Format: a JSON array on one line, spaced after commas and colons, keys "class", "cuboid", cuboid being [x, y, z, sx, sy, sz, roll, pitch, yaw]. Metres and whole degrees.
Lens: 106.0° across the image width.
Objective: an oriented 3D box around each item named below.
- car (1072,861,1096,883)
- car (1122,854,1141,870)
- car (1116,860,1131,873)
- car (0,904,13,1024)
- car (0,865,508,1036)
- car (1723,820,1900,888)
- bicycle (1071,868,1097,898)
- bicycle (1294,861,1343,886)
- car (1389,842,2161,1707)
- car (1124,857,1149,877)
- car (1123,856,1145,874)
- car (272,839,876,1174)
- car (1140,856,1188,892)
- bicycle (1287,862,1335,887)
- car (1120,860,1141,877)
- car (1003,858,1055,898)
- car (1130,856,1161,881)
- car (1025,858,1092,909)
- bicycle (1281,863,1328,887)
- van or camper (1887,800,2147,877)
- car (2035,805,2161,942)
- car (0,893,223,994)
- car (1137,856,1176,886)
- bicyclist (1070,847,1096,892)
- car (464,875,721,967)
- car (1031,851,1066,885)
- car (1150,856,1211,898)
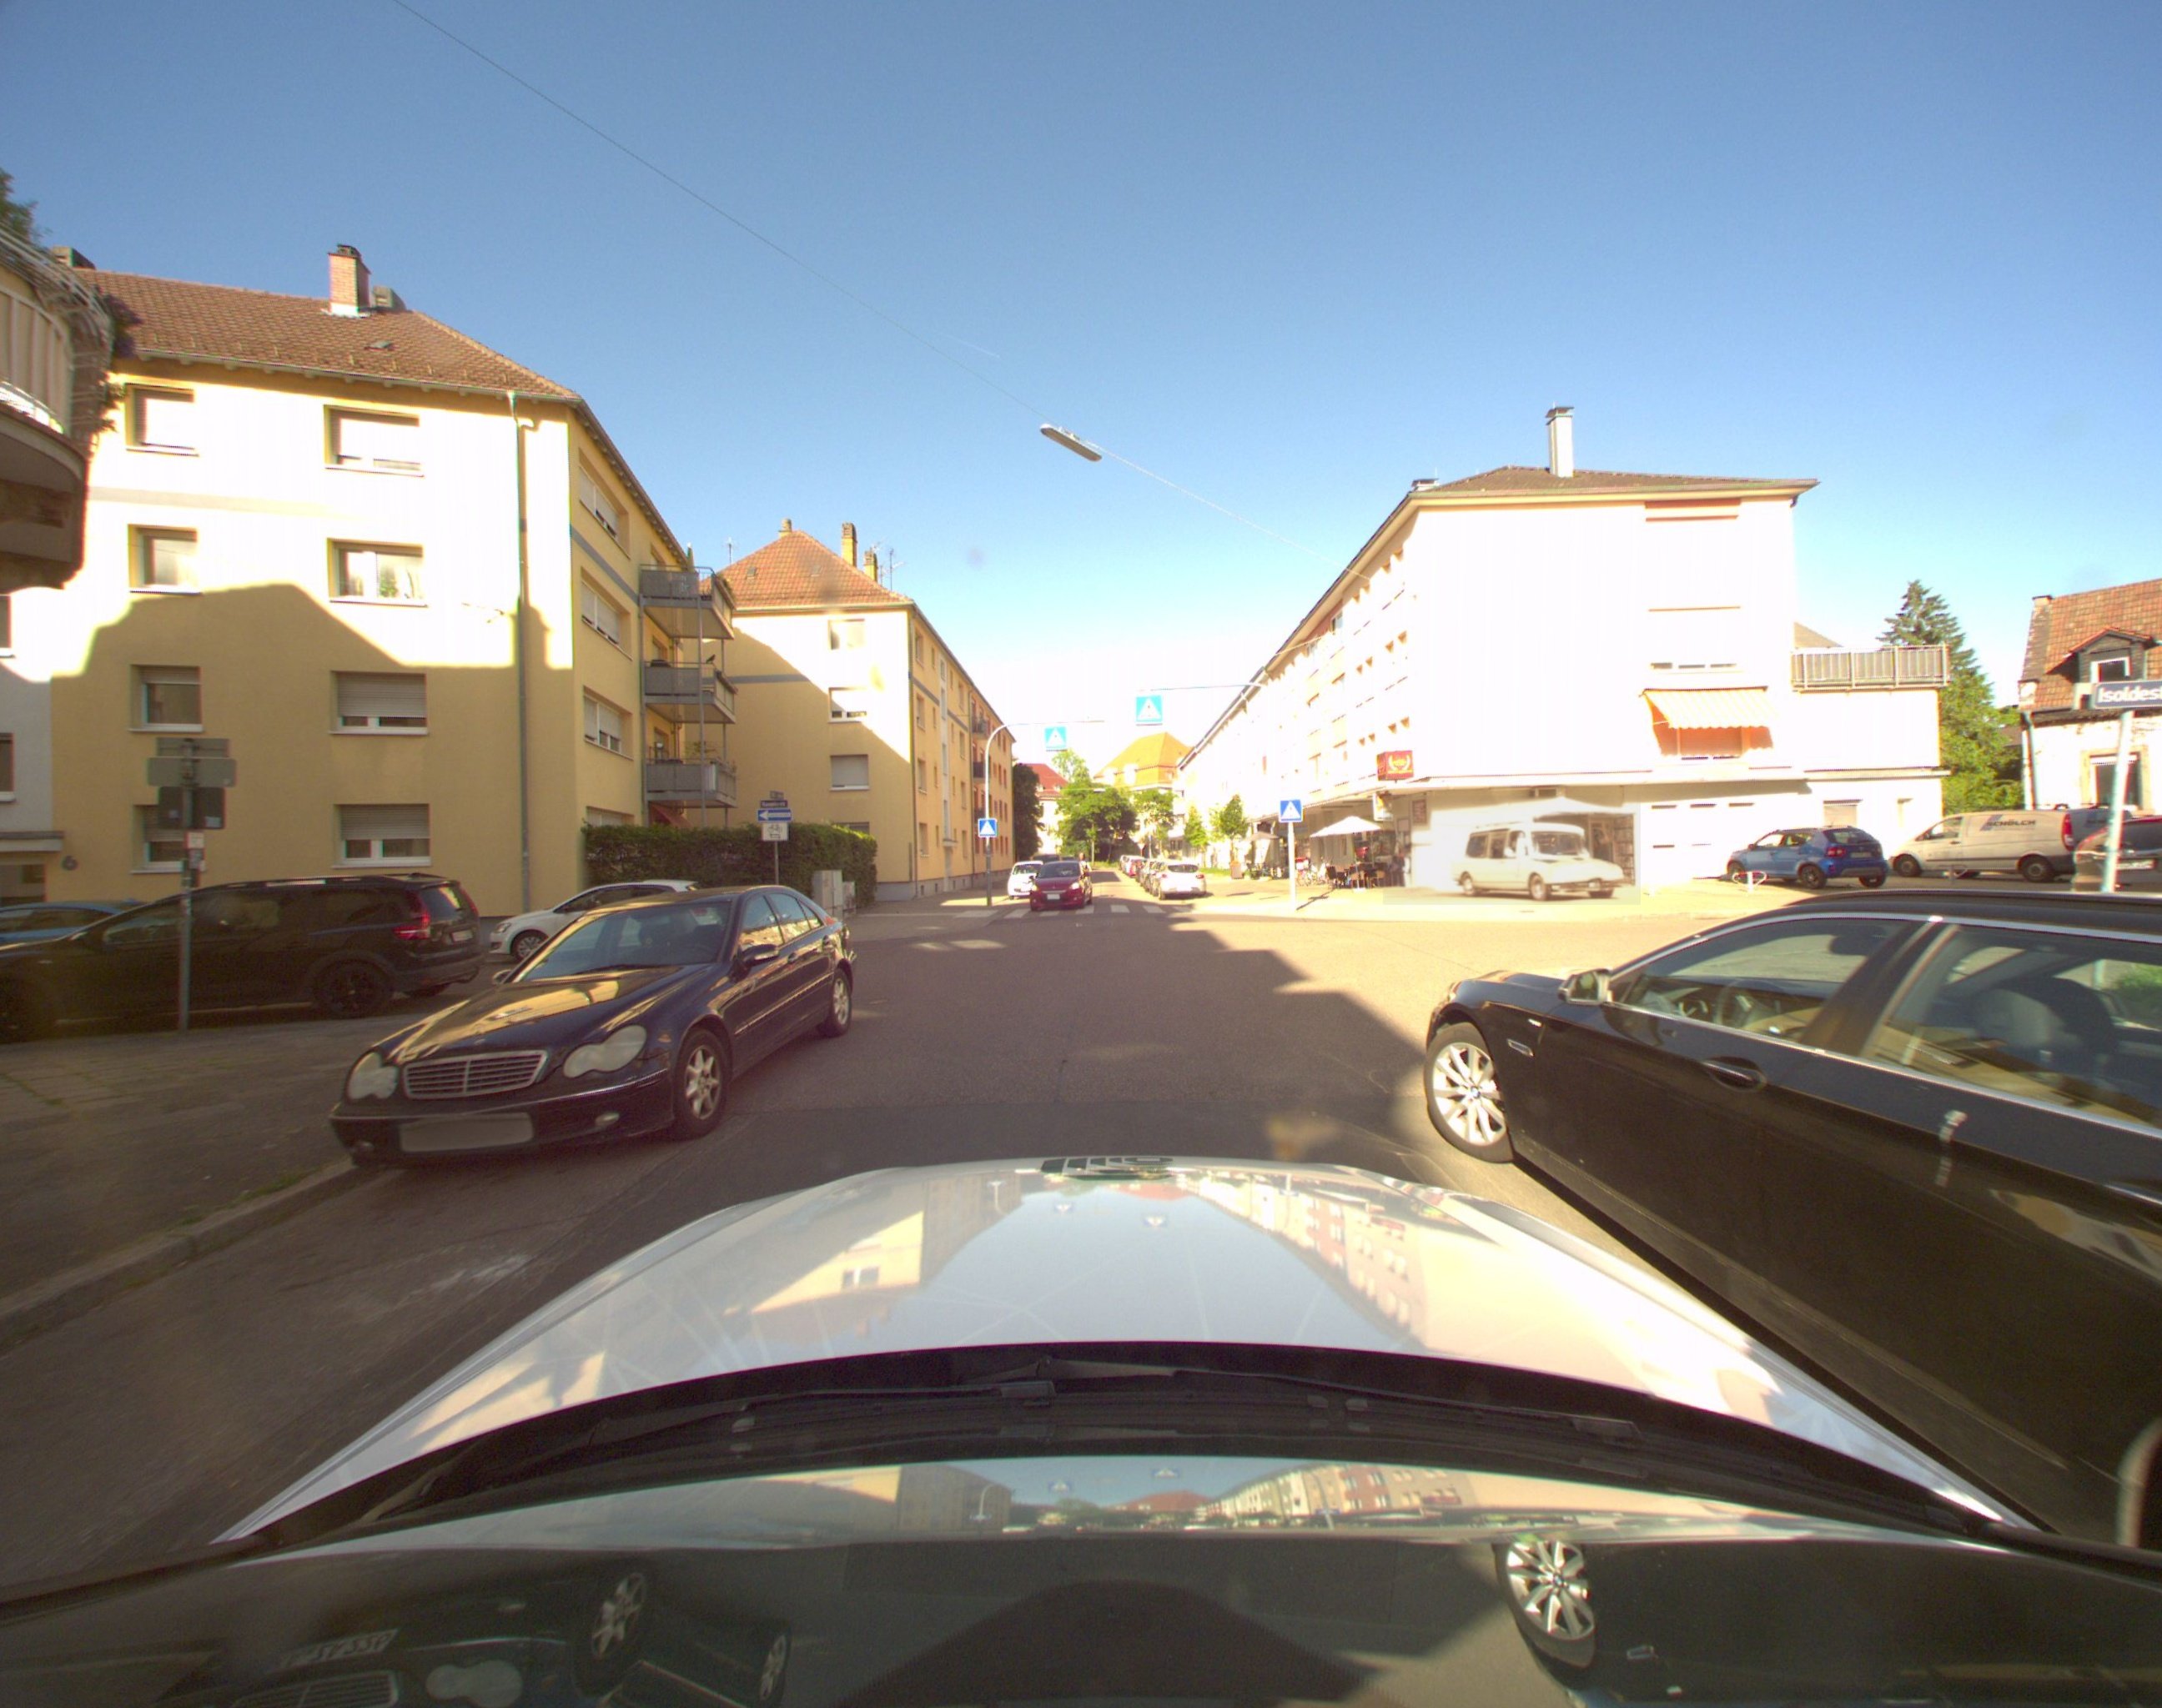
[{"class": "car", "cuboid": [0.220, 1.266, 58.177, 1.632, 1.441, 3.418, -2, -1, 0]}, {"class": "car", "cuboid": [4.776, 0.794, 77.591, 1.632, 1.441, 3.419, -2, -1, 1]}, {"class": "car", "cuboid": [5.050, 1.440, 96.791, 1.632, 1.441, 3.419, -2, -1, 1]}, {"class": "car", "cuboid": [-14.096, 1.328, 8.553, 3.165, 1.400, 1.587, -2, -1, -14]}, {"class": "car", "cuboid": [-9.784, 1.029, 9.674, 4.475, 1.615, 1.768, -2, -1, -17]}, {"class": "car", "cuboid": [19.342, 0.017, 21.769, 1.574, 1.613, 3.475, -2, -1, 0]}, {"class": "bicycle", "cuboid": [0.131, 1.067, 30.741, 0.774, 1.069, 1.792, -2, -1, 6]}, {"class": "bicycle", "cuboid": [9.794, 0.792, 33.651, 1.806, 0.967, 0.671, -2, -1, -9]}, {"class": "car", "cuboid": [2.757, 0.749, 2.484, 1.847, 1.523, 4.777, -1, -1, 1]}, {"class": "car", "cuboid": [4.229, 0.959, 62.211, 1.632, 1.441, 3.419, -2, -1, 1]}, {"class": "car", "cuboid": [4.409, 0.918, 68.535, 1.632, 1.441, 3.419, -2, -1, 1]}, {"class": "car", "cuboid": [-2.987, 0.780, 6.101, 1.699, 1.416, 4.372, -6, -1, -1]}, {"class": "car", "cuboid": [3.590, 0.869, 35.672, 1.685, 1.441, 3.418, -2, -1, 0]}, {"class": "bicycle", "cuboid": [9.689, 0.864, 34.281, 1.806, 0.967, 0.671, -2, -1, -9]}, {"class": "car", "cuboid": [4.410, 1.315, 73.122, 1.632, 1.441, 3.419, -2, -1, 1]}, {"class": "car", "cuboid": [-2.181, 0.988, 35.304, 1.785, 1.480, 4.100, -3, 0, 2]}, {"class": "car", "cuboid": [3.969, 0.871, 50.607, 1.632, 1.441, 3.418, -2, -1, 0]}, {"class": "car", "cuboid": [-0.634, 0.884, 25.490, 1.690, 1.441, 3.422, -2, -1, 4]}, {"class": "bicycle", "cuboid": [9.590, 0.892, 34.910, 1.806, 0.967, 0.671, -2, -1, -9]}, {"class": "van or camper", "cuboid": [24.733, -0.347, 21.834, 1.766, 1.813, 4.476, -2, -1, 0]}, {"class": "car", "cuboid": [14.884, 0.151, 9.812, 4.219, 1.613, 1.828, -2, -1, 8]}, {"class": "car", "cuboid": [-17.434, 1.488, 13.472, 4.116, 1.446, 1.680, -2, -1, -17]}, {"class": "car", "cuboid": [3.832, 0.858, 41.536, 1.632, 1.441, 3.418, -2, -1, 0]}, {"class": "bicyclist", "cuboid": [0.092, 0.586, 30.749, 0.782, 1.621, 0.957, -4, -1, 6]}, {"class": "car", "cuboid": [-9.342, 1.238, 15.923, 3.988, 1.479, 1.586, -2, -1, -17]}, {"class": "car", "cuboid": [-1.822, 0.803, 46.665, 1.691, 1.779, 4.100, -2, -1, 2]}, {"class": "car", "cuboid": [3.715, 0.861, 30.930, 1.839, 1.441, 3.418, -2, -1, 0]}]
